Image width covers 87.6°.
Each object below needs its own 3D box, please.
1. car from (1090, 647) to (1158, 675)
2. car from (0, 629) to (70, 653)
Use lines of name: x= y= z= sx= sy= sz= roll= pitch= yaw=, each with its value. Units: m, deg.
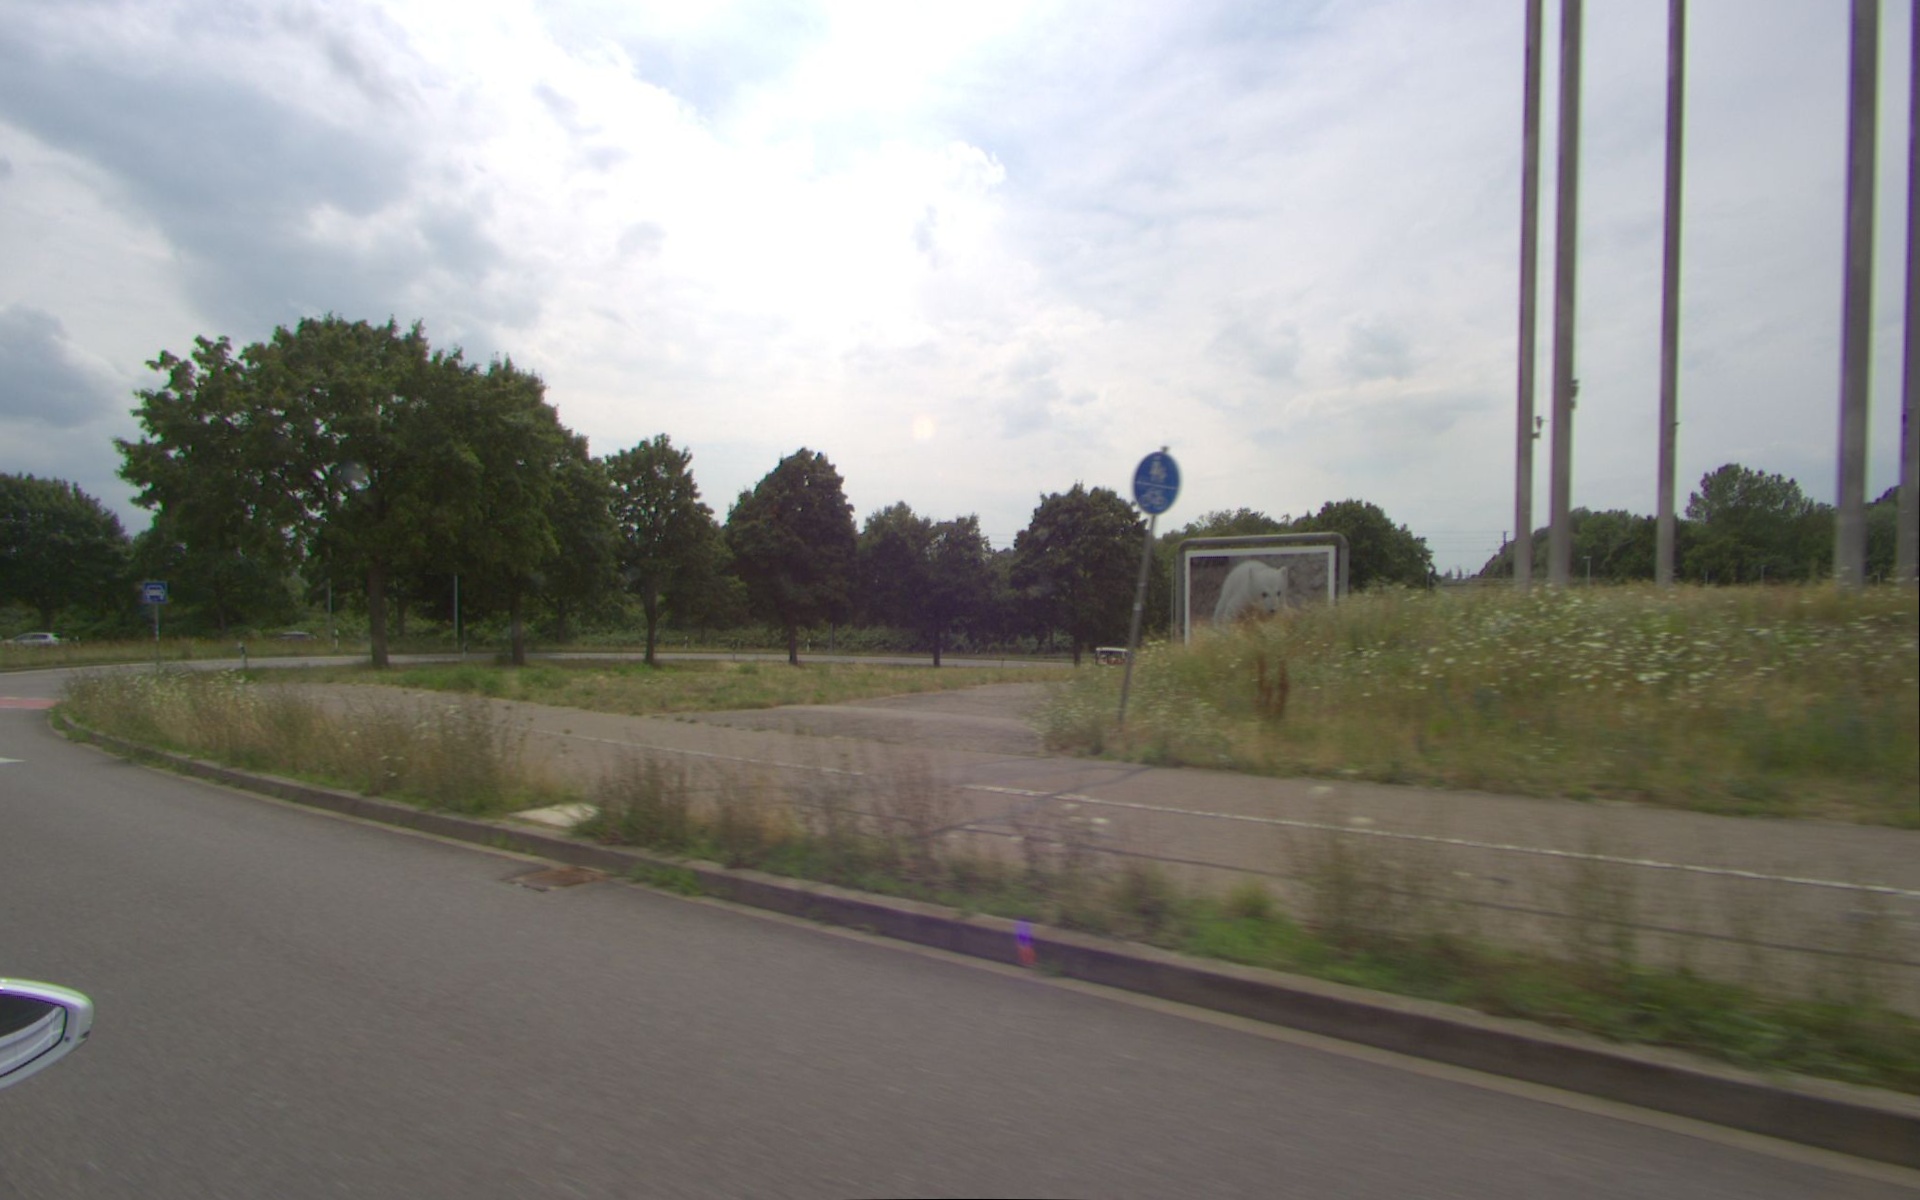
car: x=13.125 y=4.873 z=80.267 sx=5.147 sy=2.040 sz=2.000 roll=0 pitch=1 yaw=2
car: x=-61.928 y=2.699 z=66.443 sx=3.929 sy=1.483 sz=1.769 roll=0 pitch=1 yaw=-16
